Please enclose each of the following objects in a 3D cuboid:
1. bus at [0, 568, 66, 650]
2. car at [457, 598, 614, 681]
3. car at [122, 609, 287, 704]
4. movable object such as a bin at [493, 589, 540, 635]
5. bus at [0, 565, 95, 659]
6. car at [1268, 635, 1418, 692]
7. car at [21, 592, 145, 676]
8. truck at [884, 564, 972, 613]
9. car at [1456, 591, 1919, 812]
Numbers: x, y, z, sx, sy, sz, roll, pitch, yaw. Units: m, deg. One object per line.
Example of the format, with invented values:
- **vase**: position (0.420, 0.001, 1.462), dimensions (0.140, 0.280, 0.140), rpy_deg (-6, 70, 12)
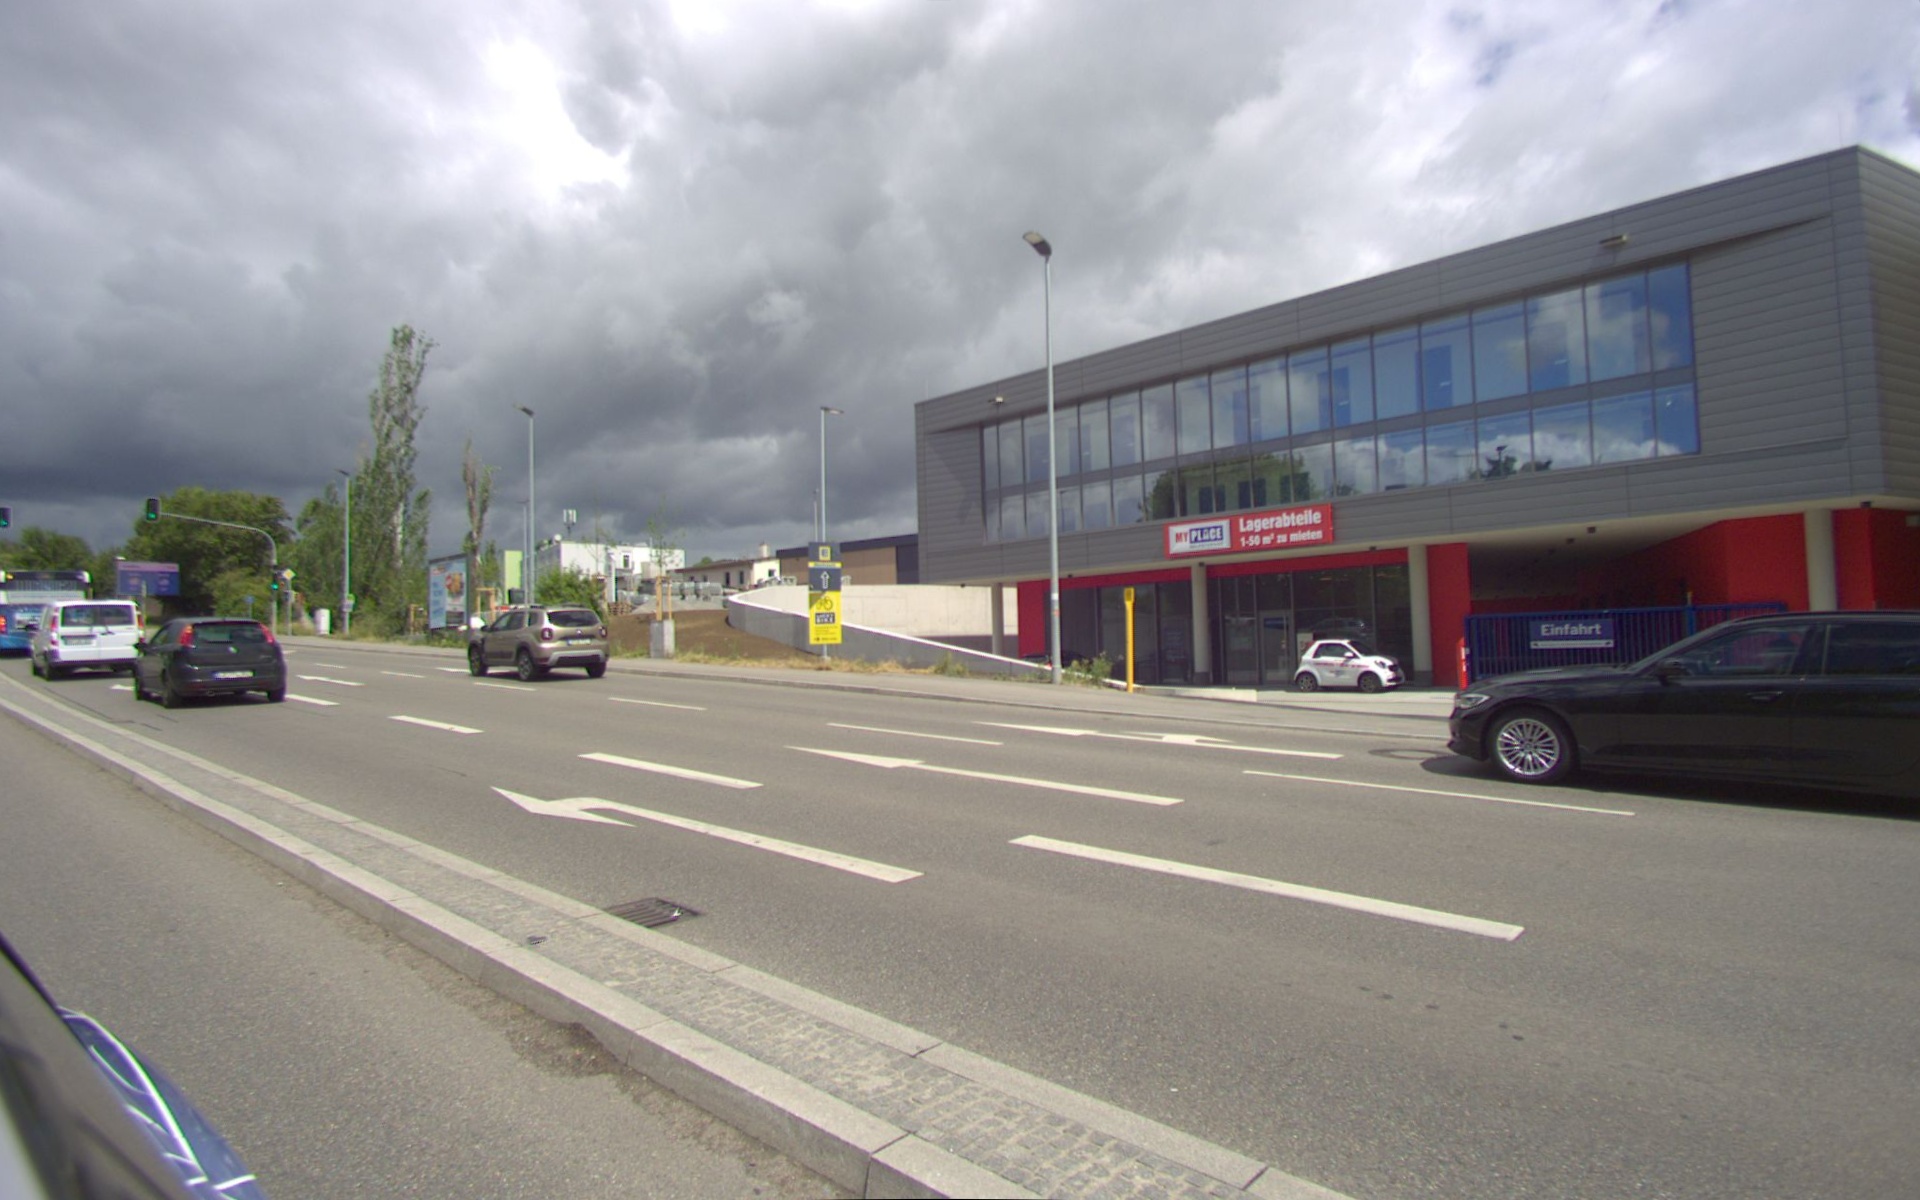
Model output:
- **bus**: position (-41.978, 0.397, 44.740), dimensions (10.121, 3.310, 2.784), rpy_deg (-1, -1, 43)
- **car**: position (-9.765, 0.829, 23.122), dimensions (4.271, 1.726, 1.712), rpy_deg (0, -1, 43)
- **car**: position (-13.340, 0.936, 17.793), dimensions (3.775, 1.482, 1.620), rpy_deg (-2, -2, 42)
- **movable object such as a bin**: position (-25.837, 0.714, 58.868), dimensions (2.116, 2.557, 3.425), rpy_deg (1, -1, -30)
- **bus**: position (-35.068, 0.529, 38.182), dimensions (8.908, 3.188, 2.784), rpy_deg (-2, -2, 43)
- **car**: position (11.203, 1.862, 29.770), dimensions (1.647, 1.520, 3.743), rpy_deg (1, -3, -42)
- **car**: position (-22.149, 0.835, 25.504), dimensions (4.750, 1.939, 1.857), rpy_deg (-2, -2, 43)
- **truck**: position (-1.968, -0.600, 59.018), dimensions (1.966, 2.162, 6.598), rpy_deg (-1, -5, -33)
- **car**: position (6.513, 0.684, 7.783), dimensions (4.558, 1.467, 1.712), rpy_deg (0, -1, 43)
